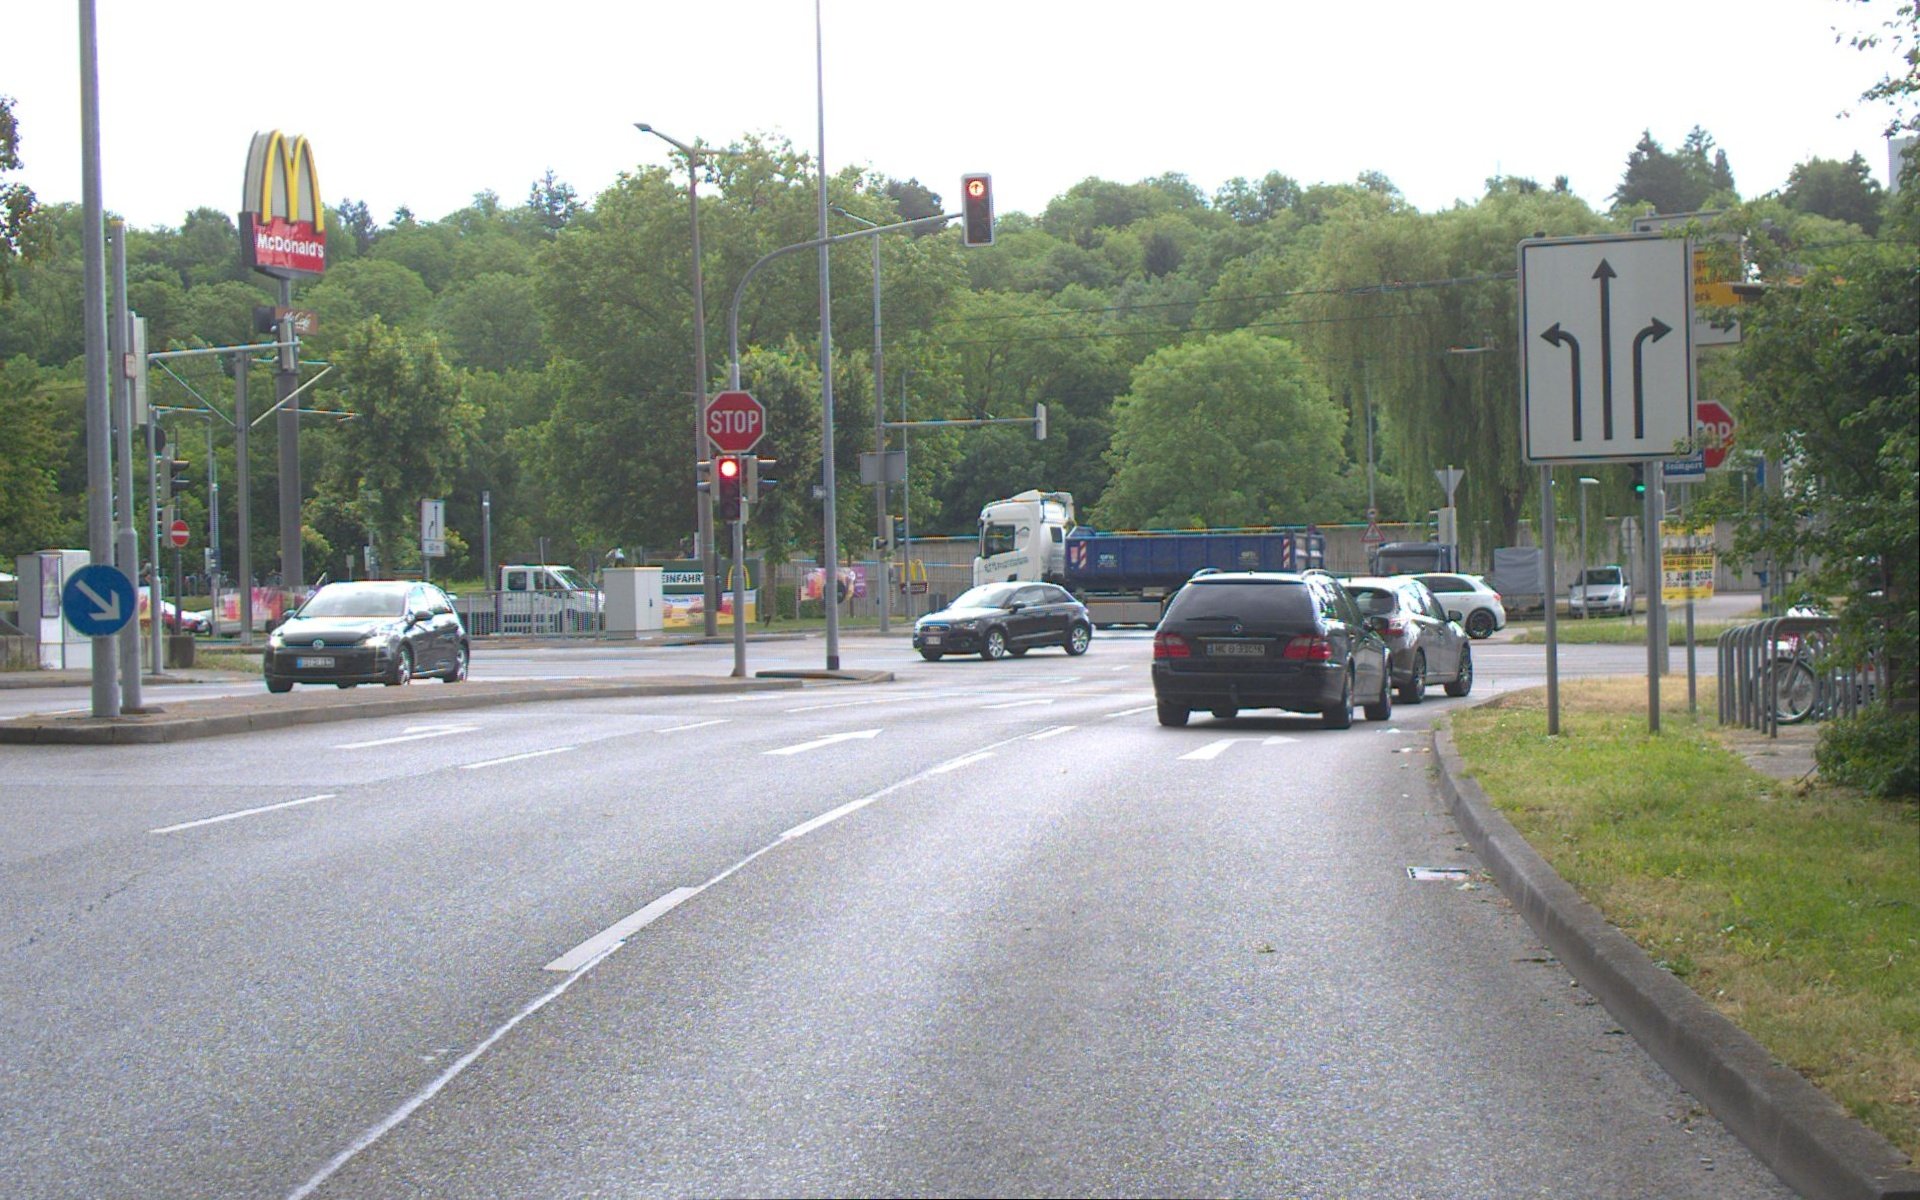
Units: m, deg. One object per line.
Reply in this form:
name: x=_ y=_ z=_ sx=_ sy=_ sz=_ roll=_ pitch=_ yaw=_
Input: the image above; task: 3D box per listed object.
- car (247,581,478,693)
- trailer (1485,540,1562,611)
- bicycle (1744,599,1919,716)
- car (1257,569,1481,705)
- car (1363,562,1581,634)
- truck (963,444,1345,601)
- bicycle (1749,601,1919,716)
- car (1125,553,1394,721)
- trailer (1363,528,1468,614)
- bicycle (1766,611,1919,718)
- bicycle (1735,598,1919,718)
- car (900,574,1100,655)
car: x=-7.677 y=0.444 z=44.536 sx=1.678 sy=1.361 sz=4.309 roll=0 pitch=0 yaw=8
trailer: x=18.016 y=-0.758 z=109.811 sx=1.995 sy=2.177 sz=3.997 roll=-2 pitch=-1 yaw=14
bicycle: x=8.501 y=0.556 z=33.195 sx=1.780 sy=1.107 sz=0.455 roll=-1 pitch=-1 yaw=16
car: x=5.074 y=0.418 z=42.192 sx=1.729 sy=1.525 sz=4.144 roll=-2 pitch=0 yaw=21
car: x=10.868 y=-0.051 z=72.990 sx=4.277 sy=1.401 sz=1.606 roll=-2 pitch=0 yaw=-20
truck: x=4.941 y=-1.906 z=87.872 sx=9.110 sy=3.575 sz=3.215 roll=-2 pitch=-1 yaw=24
bicycle: x=8.709 y=0.573 z=33.886 sx=1.779 sy=1.107 sz=0.579 roll=-1 pitch=0 yaw=11
car: x=2.980 y=0.372 z=33.285 sx=1.823 sy=1.504 sz=4.571 roll=0 pitch=-1 yaw=15
trailer: x=14.451 y=-0.892 z=108.841 sx=2.354 sy=2.573 sz=4.915 roll=-2 pitch=-1 yaw=18
bicycle: x=9.301 y=0.665 z=35.721 sx=1.779 sy=1.107 sz=0.553 roll=0 pitch=0 yaw=11
bicycle: x=8.275 y=0.552 z=32.506 sx=1.781 sy=1.107 sz=0.425 roll=-2 pitch=-1 yaw=30
car: x=0.788 y=0.259 z=64.861 sx=1.620 sy=1.411 sz=3.886 roll=-1 pitch=0 yaw=41
